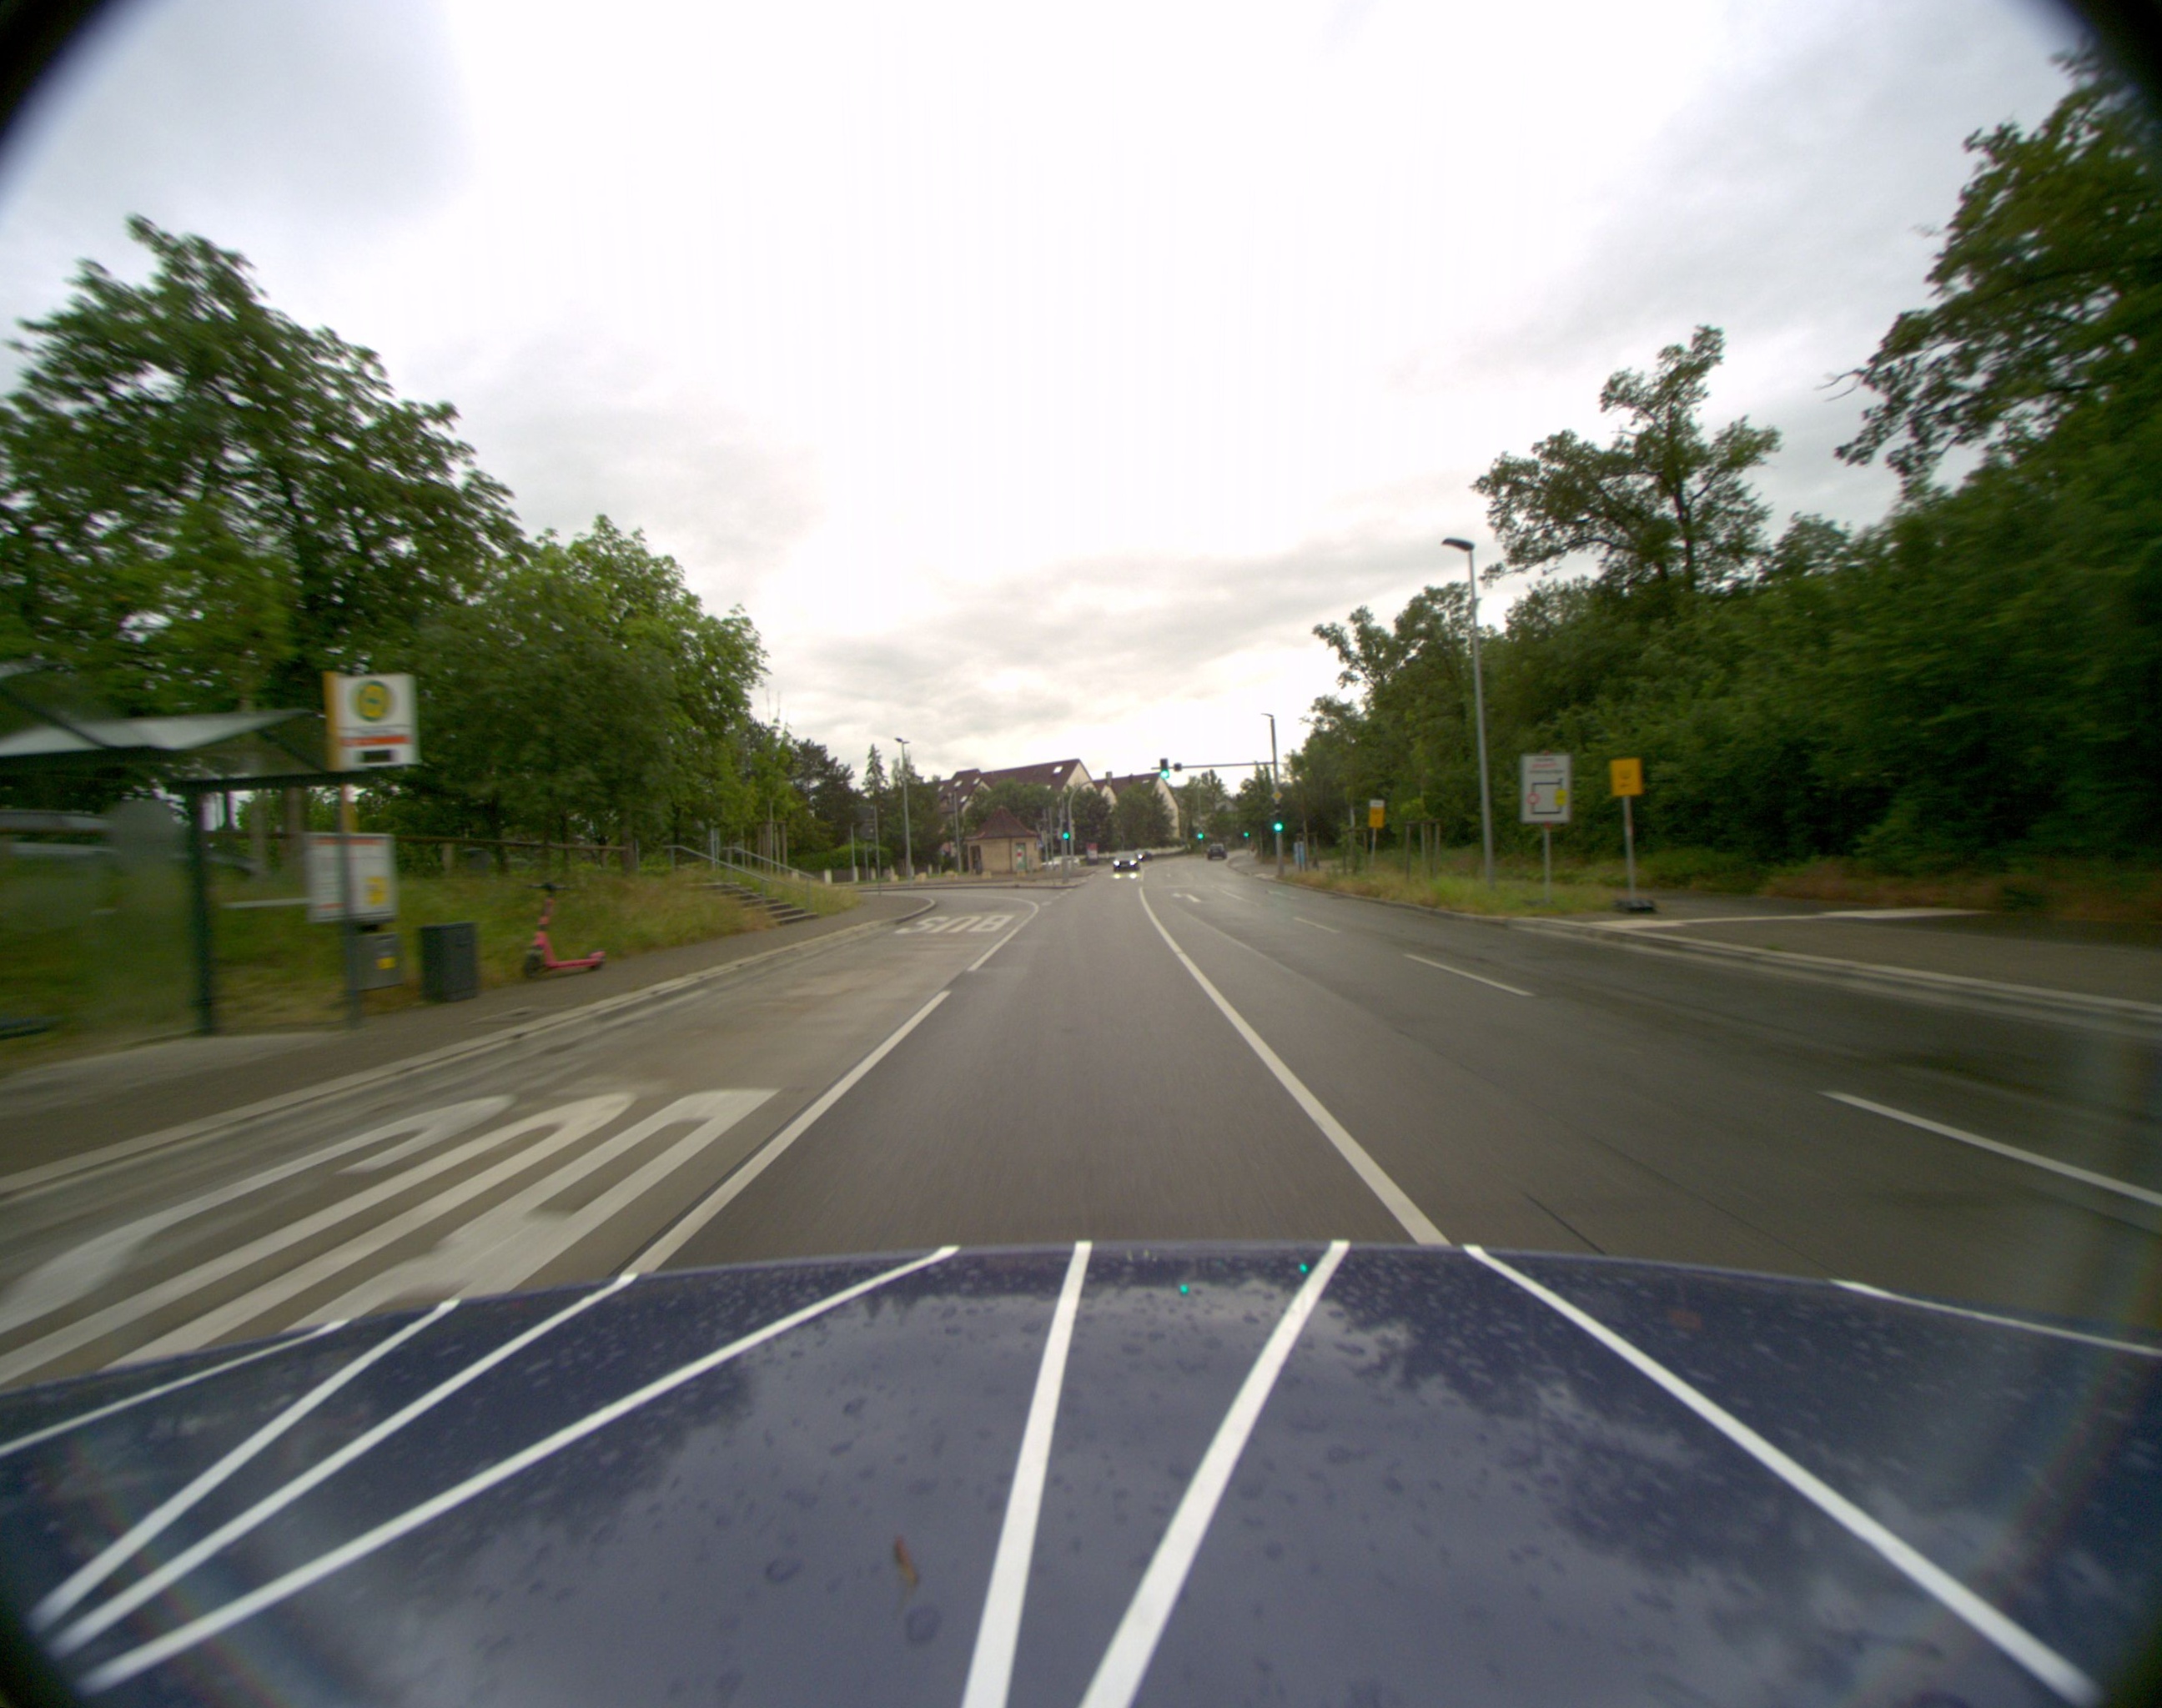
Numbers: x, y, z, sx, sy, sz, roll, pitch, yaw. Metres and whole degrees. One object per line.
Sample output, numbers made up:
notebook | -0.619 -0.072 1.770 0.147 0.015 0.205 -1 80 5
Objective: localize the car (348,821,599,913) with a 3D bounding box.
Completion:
car | -13.287 0.245 17.013 1.998 1.652 4.002 -6 0 7

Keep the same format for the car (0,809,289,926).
car | -14.617 0.218 10.722 1.997 1.471 4.286 -5 1 8

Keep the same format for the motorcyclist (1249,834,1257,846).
motorcyclist | 23.883 -1.936 105.393 0.746 1.623 0.929 -1 1 32

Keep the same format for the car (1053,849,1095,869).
car | -0.617 0.394 69.549 1.942 1.594 4.610 -2 1 25

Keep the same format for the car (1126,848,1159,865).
car | 6.706 0.236 82.289 1.942 1.594 4.610 -2 1 25

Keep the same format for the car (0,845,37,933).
car | -19.360 0.719 11.254 1.889 1.471 4.070 -5 1 8

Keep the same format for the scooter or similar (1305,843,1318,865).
scooter or similar | 13.261 0.000 43.685 0.518 1.205 1.470 -3 1 10

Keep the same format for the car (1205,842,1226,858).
car | 14.289 -0.465 80.293 1.792 1.572 4.565 -2 1 14

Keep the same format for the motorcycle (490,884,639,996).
motorcycle | -6.761 1.088 10.048 0.589 1.281 1.539 -2 1 17

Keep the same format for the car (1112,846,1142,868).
car | 3.438 0.181 57.667 1.945 1.446 4.603 -2 1 0

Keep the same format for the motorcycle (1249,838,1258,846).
motorcycle | 23.961 -1.653 105.489 0.594 1.045 2.002 -2 1 33
